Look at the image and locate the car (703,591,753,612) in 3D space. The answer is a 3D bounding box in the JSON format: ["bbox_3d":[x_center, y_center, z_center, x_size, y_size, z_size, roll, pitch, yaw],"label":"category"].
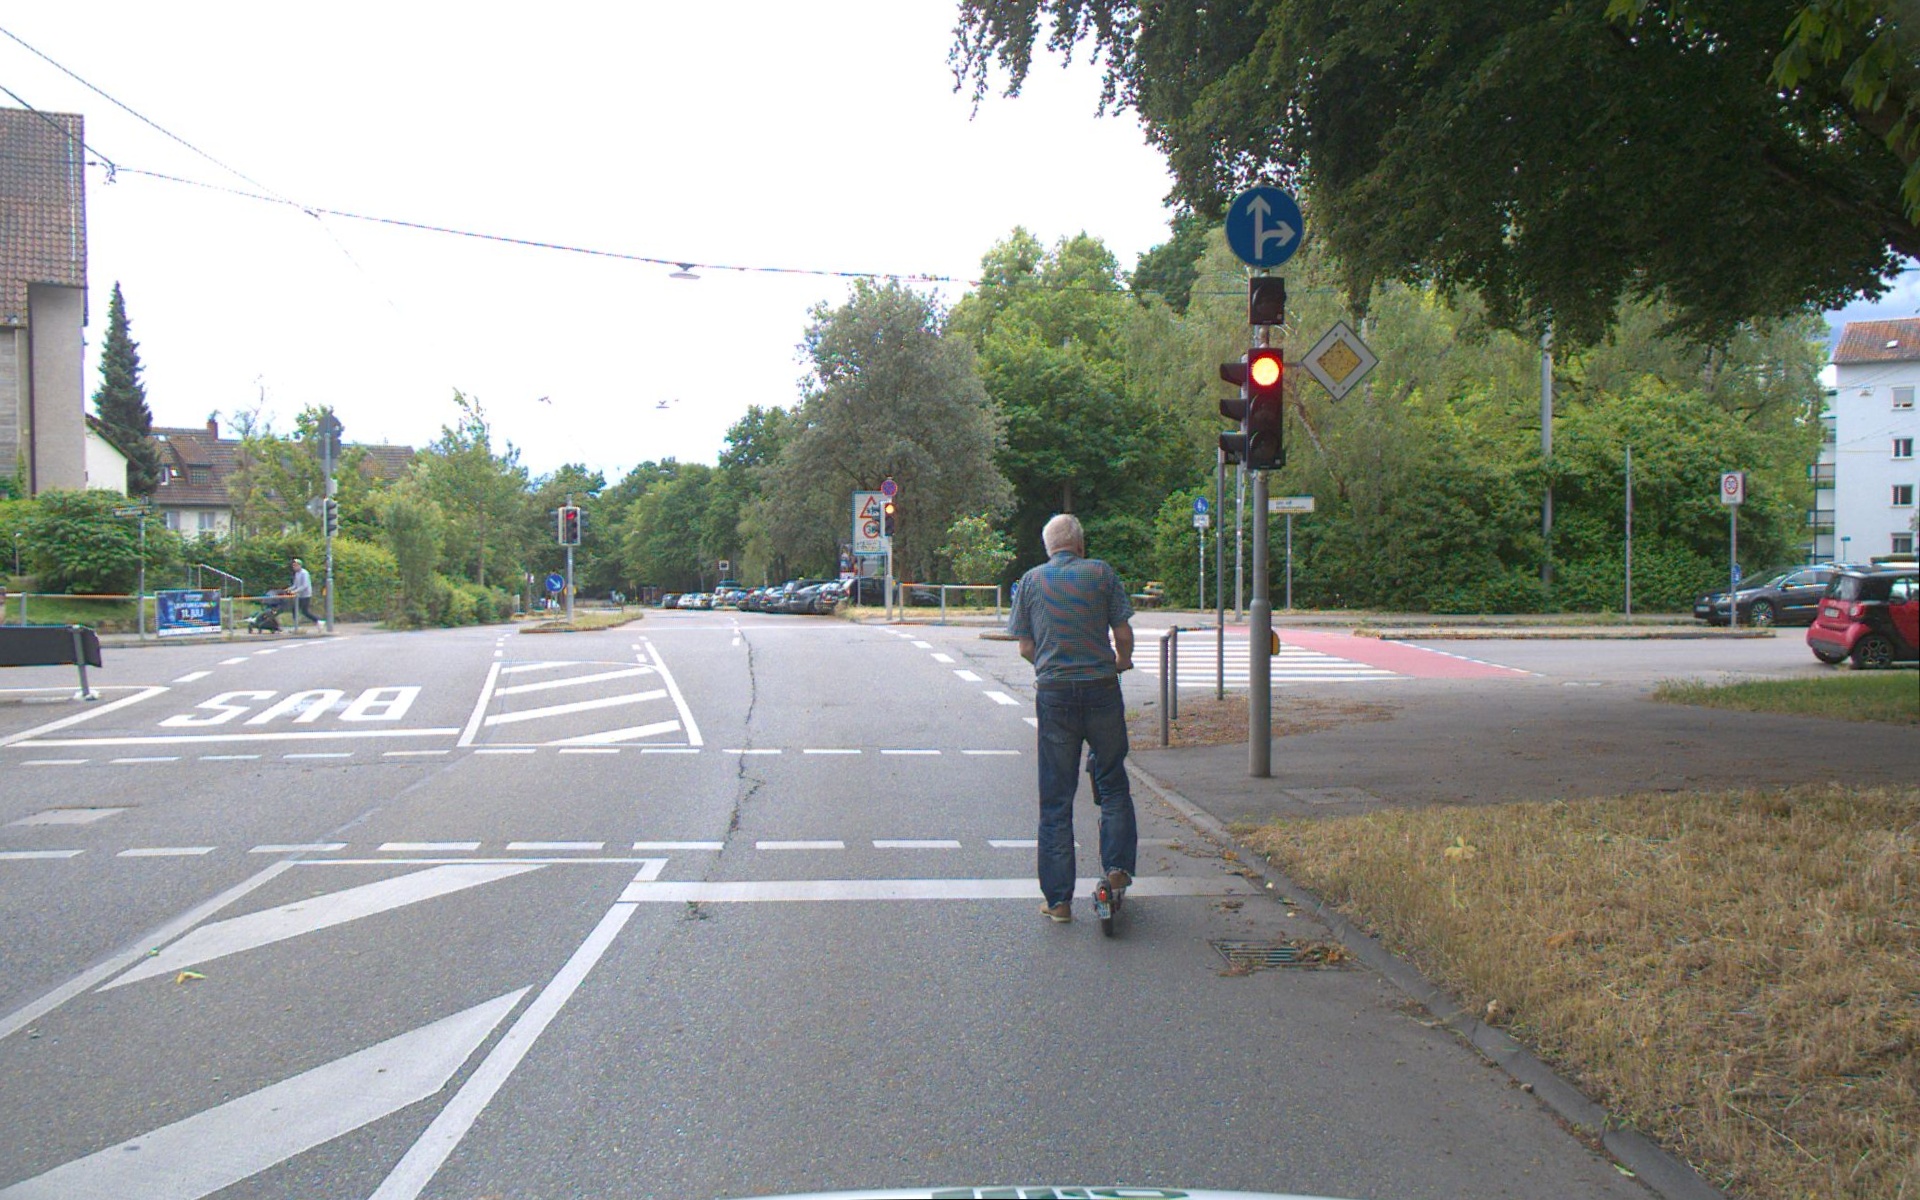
[{"bbox_3d":[-19.458,0.136,138.784,3.790,1.639,1.716,-2,1,-24],"label":"car"}]

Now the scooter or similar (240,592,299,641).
[{"bbox_3d":[-15.887,0.374,38.059,0.566,1.100,1.107,-1,1,35],"label":"scooter or similar"}]

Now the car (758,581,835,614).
[{"bbox_3d":[-8.804,-0.132,88.919,3.790,1.639,1.716,-2,1,-24],"label":"car"}]

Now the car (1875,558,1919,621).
[{"bbox_3d":[26.402,-0.333,45.809,1.689,1.639,3.850,-1,1,27],"label":"car"}]

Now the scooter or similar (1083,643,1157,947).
[{"bbox_3d":[0.729,0.817,7.385,0.276,1.199,1.178,-1,1,7],"label":"scooter or similar"}]

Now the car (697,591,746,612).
[{"bbox_3d":[-20.552,0.104,142.443,3.790,1.639,1.716,-2,1,-24],"label":"car"}]

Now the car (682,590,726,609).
[{"bbox_3d":[-24.119,-0.043,155.826,3.790,1.639,1.716,-2,1,-24],"label":"car"}]

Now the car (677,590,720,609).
[{"bbox_3d":[-25.051,-0.070,158.383,3.790,1.639,1.716,-2,1,-24],"label":"car"}]

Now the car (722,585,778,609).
[{"bbox_3d":[-15.437,-0.211,121.649,3.790,1.639,1.716,-2,1,-24],"label":"car"}]

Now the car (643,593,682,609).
[{"bbox_3d":[-31.931,0.094,177.475,3.790,1.639,1.716,-2,1,-24],"label":"car"}]

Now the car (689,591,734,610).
[{"bbox_3d":[-23.060,0.029,153.709,3.790,1.639,1.716,-2,1,-24],"label":"car"}]

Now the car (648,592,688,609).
[{"bbox_3d":[-30.922,0.034,175.153,3.790,1.639,1.716,-2,1,-24],"label":"car"}]

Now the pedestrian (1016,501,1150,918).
[{"bbox_3d":[0.568,0.486,7.558,0.560,1.845,0.421,-1,0,7],"label":"pedestrian"}]

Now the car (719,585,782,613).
[{"bbox_3d":[-13.781,-0.075,108.706,3.790,1.639,1.716,-2,1,-24],"label":"car"}]

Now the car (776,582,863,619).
[{"bbox_3d":[-6.725,-0.003,79.189,3.790,1.639,1.716,-2,1,-24],"label":"car"}]

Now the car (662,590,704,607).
[{"bbox_3d":[-27.690,-0.148,165.409,3.790,1.639,1.716,-2,1,-24],"label":"car"}]

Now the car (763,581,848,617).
[{"bbox_3d":[-7.577,-0.057,81.211,3.790,1.639,1.716,-2,1,-24],"label":"car"}]

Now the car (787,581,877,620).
[{"bbox_3d":[-5.931,0.016,76.660,3.792,1.639,1.715,-2,1,-25],"label":"car"}]

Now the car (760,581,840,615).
[{"bbox_3d":[-8.365,-0.119,86.513,3.790,1.639,1.716,-2,1,-24],"label":"car"}]

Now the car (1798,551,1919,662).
[{"bbox_3d":[15.253,0.049,25.827,3.444,1.639,1.729,-2,1,4],"label":"car"}]

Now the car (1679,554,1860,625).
[{"bbox_3d":[19.151,-0.260,39.229,3.444,1.557,1.729,-2,1,5],"label":"car"}]

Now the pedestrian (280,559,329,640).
[{"bbox_3d":[-15.377,-0.020,38.812,0.563,1.895,0.883,-1,1,37],"label":"pedestrian"}]
